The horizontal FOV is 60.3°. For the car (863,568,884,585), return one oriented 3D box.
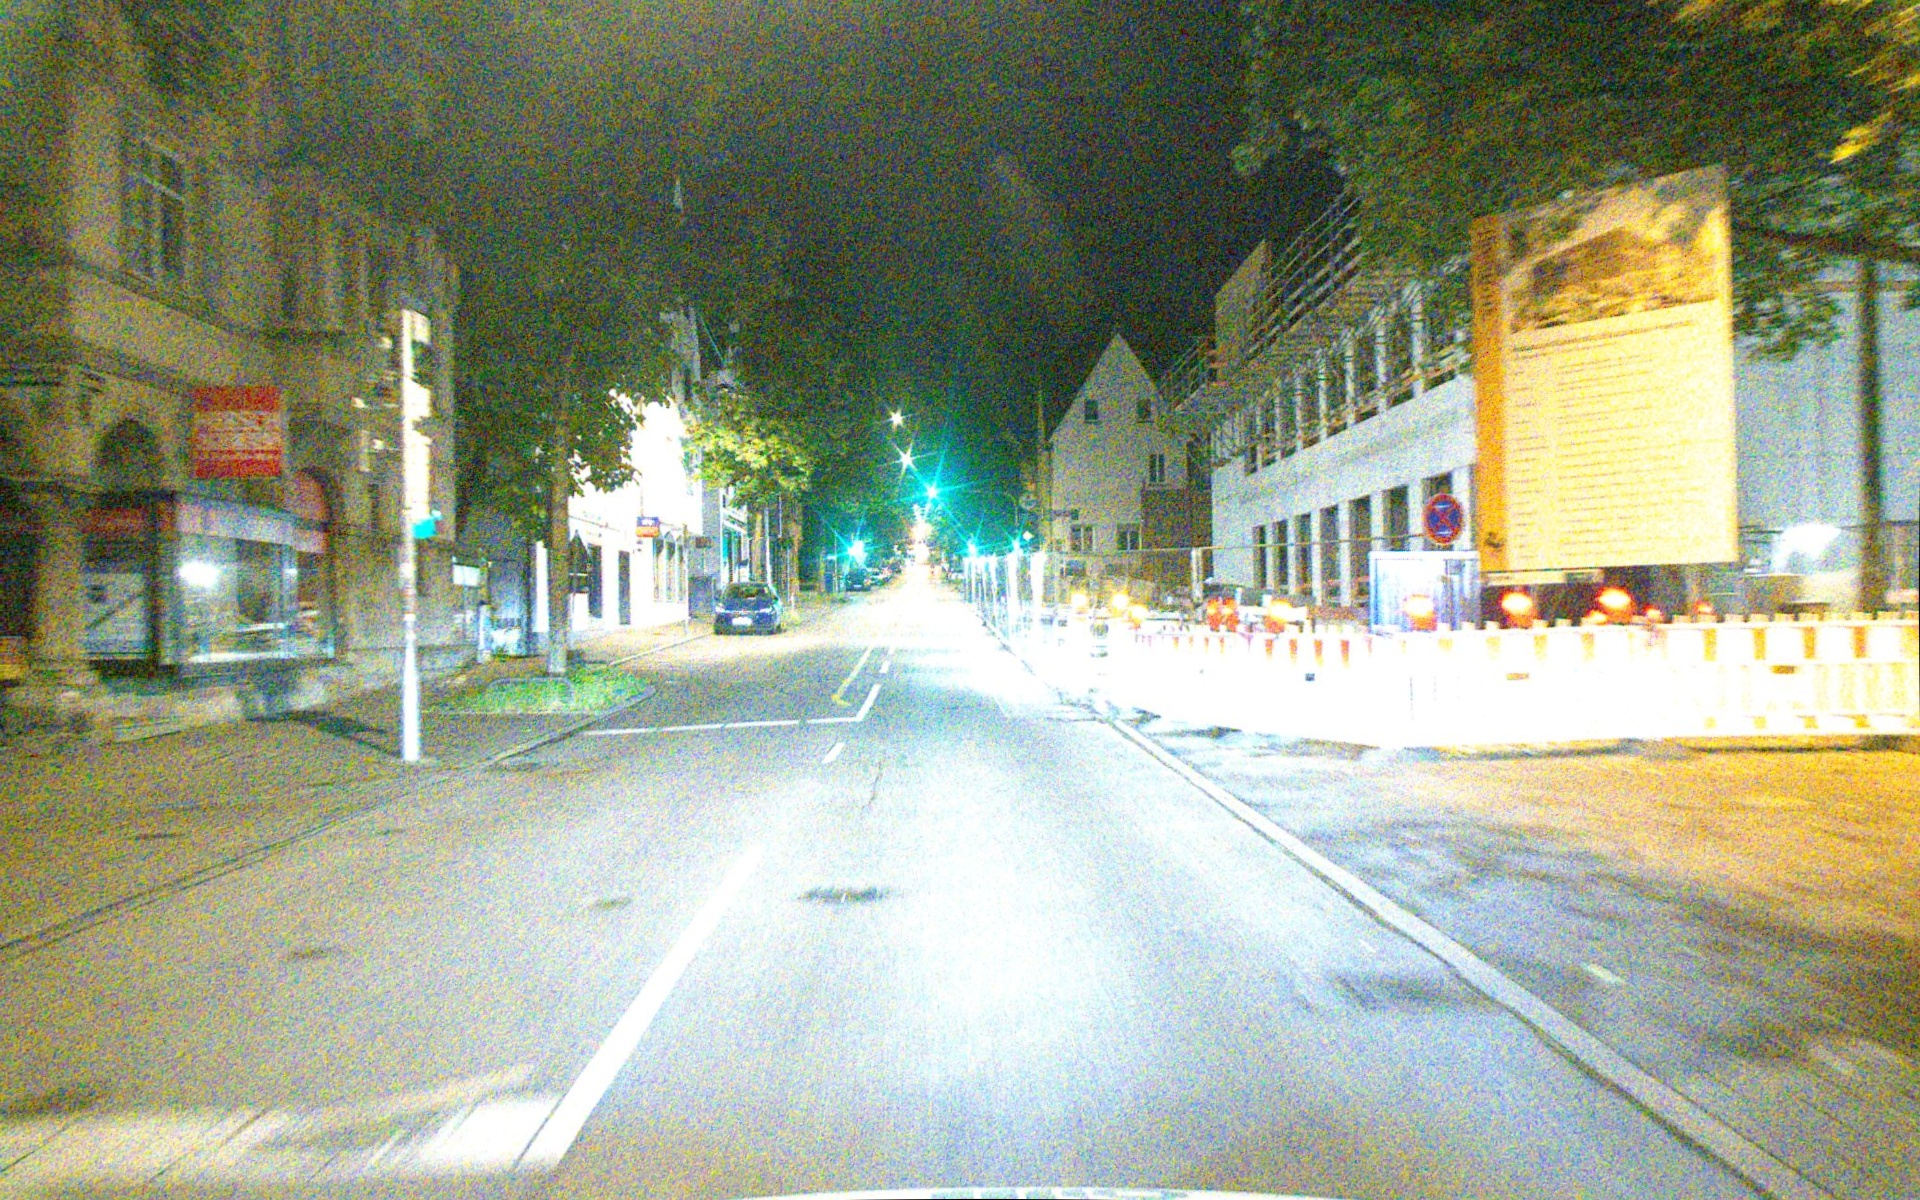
[{"bbox_3d":[-8.251,-2.230,157.524,1.835,1.571,4.204,-1,1,-1],"label":"car"}]

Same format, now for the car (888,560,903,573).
[{"bbox_3d":[-9.703,-5.042,248.085,2.035,1.846,4.205,-1,1,0],"label":"car"}]

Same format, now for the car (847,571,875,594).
[{"bbox_3d":[-7.161,-1.300,120.291,1.835,1.571,4.204,-1,1,-1],"label":"car"}]

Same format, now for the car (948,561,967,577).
[{"bbox_3d":[-0.288,-3.192,170.856,1.835,1.571,4.204,-1,1,-1],"label":"car"}]

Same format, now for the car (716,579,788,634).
[{"bbox_3d":[-6.028,0.151,48.244,1.637,1.468,4.204,-1,1,-1],"label":"car"}]

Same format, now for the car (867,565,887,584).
[{"bbox_3d":[-8.216,-2.563,163.649,1.835,1.846,4.204,-1,1,-1],"label":"car"}]

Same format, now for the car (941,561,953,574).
[{"bbox_3d":[-2.028,-5.100,258.324,1.835,1.940,4.204,-1,1,-1],"label":"car"}]

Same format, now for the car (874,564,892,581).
[{"bbox_3d":[-8.492,-3.042,181.940,1.835,1.846,4.204,-1,1,-1],"label":"car"}]

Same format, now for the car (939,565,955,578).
[{"bbox_3d":[-1.654,-3.578,209.778,1.835,1.571,4.204,-1,1,-1],"label":"car"}]

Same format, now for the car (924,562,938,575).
[{"bbox_3d":[-4.153,-4.513,236.045,1.835,1.846,4.205,-1,1,0],"label":"car"}]
